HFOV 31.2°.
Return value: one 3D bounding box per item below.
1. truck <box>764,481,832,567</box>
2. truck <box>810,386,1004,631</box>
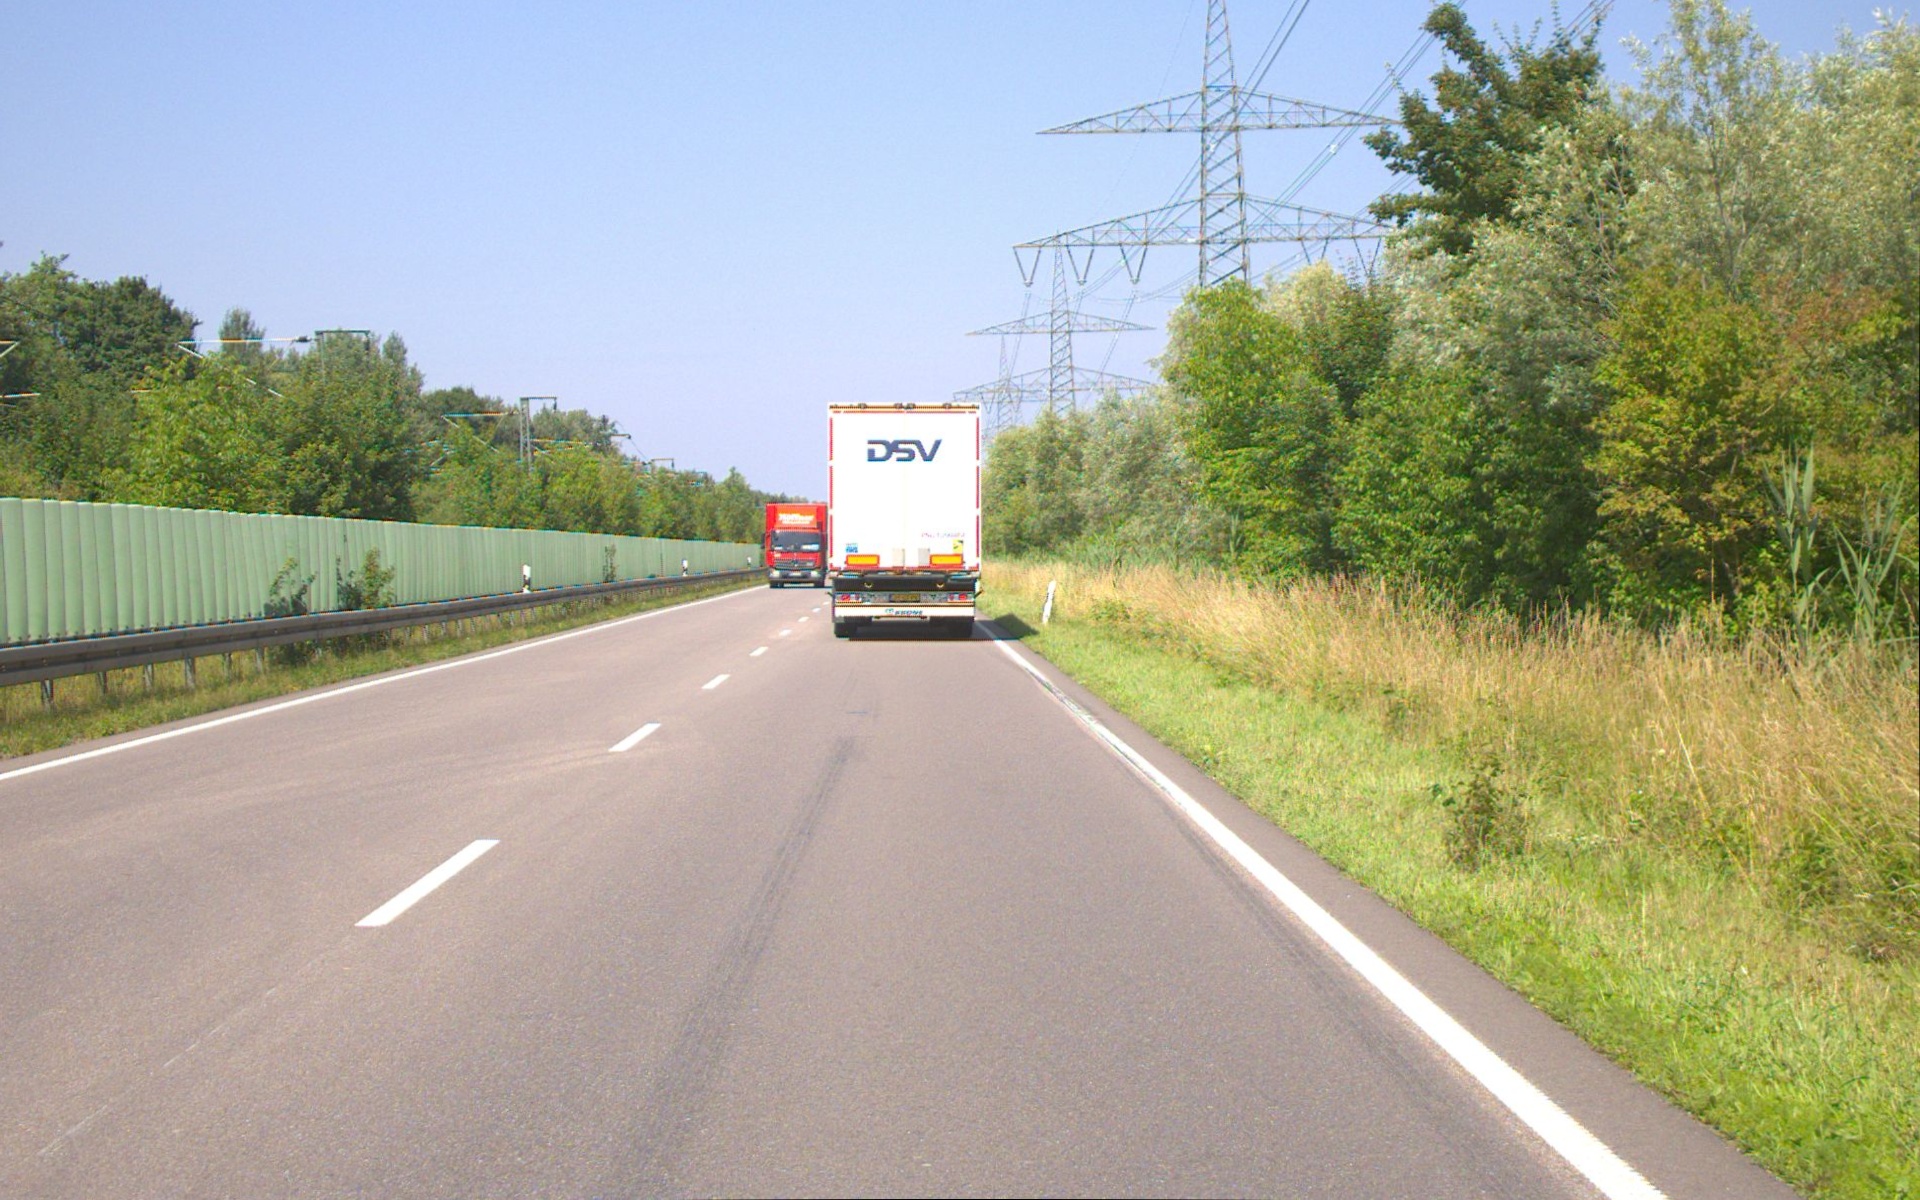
[{"bbox_3d":[-6.996,-3.278,149.337,2.734,3.586,9.528,0,1,-1],"label":"truck"},{"bbox_3d":[-1.028,-1.621,62.861,3.192,4.029,12.008,0,1,-1],"label":"truck"}]
